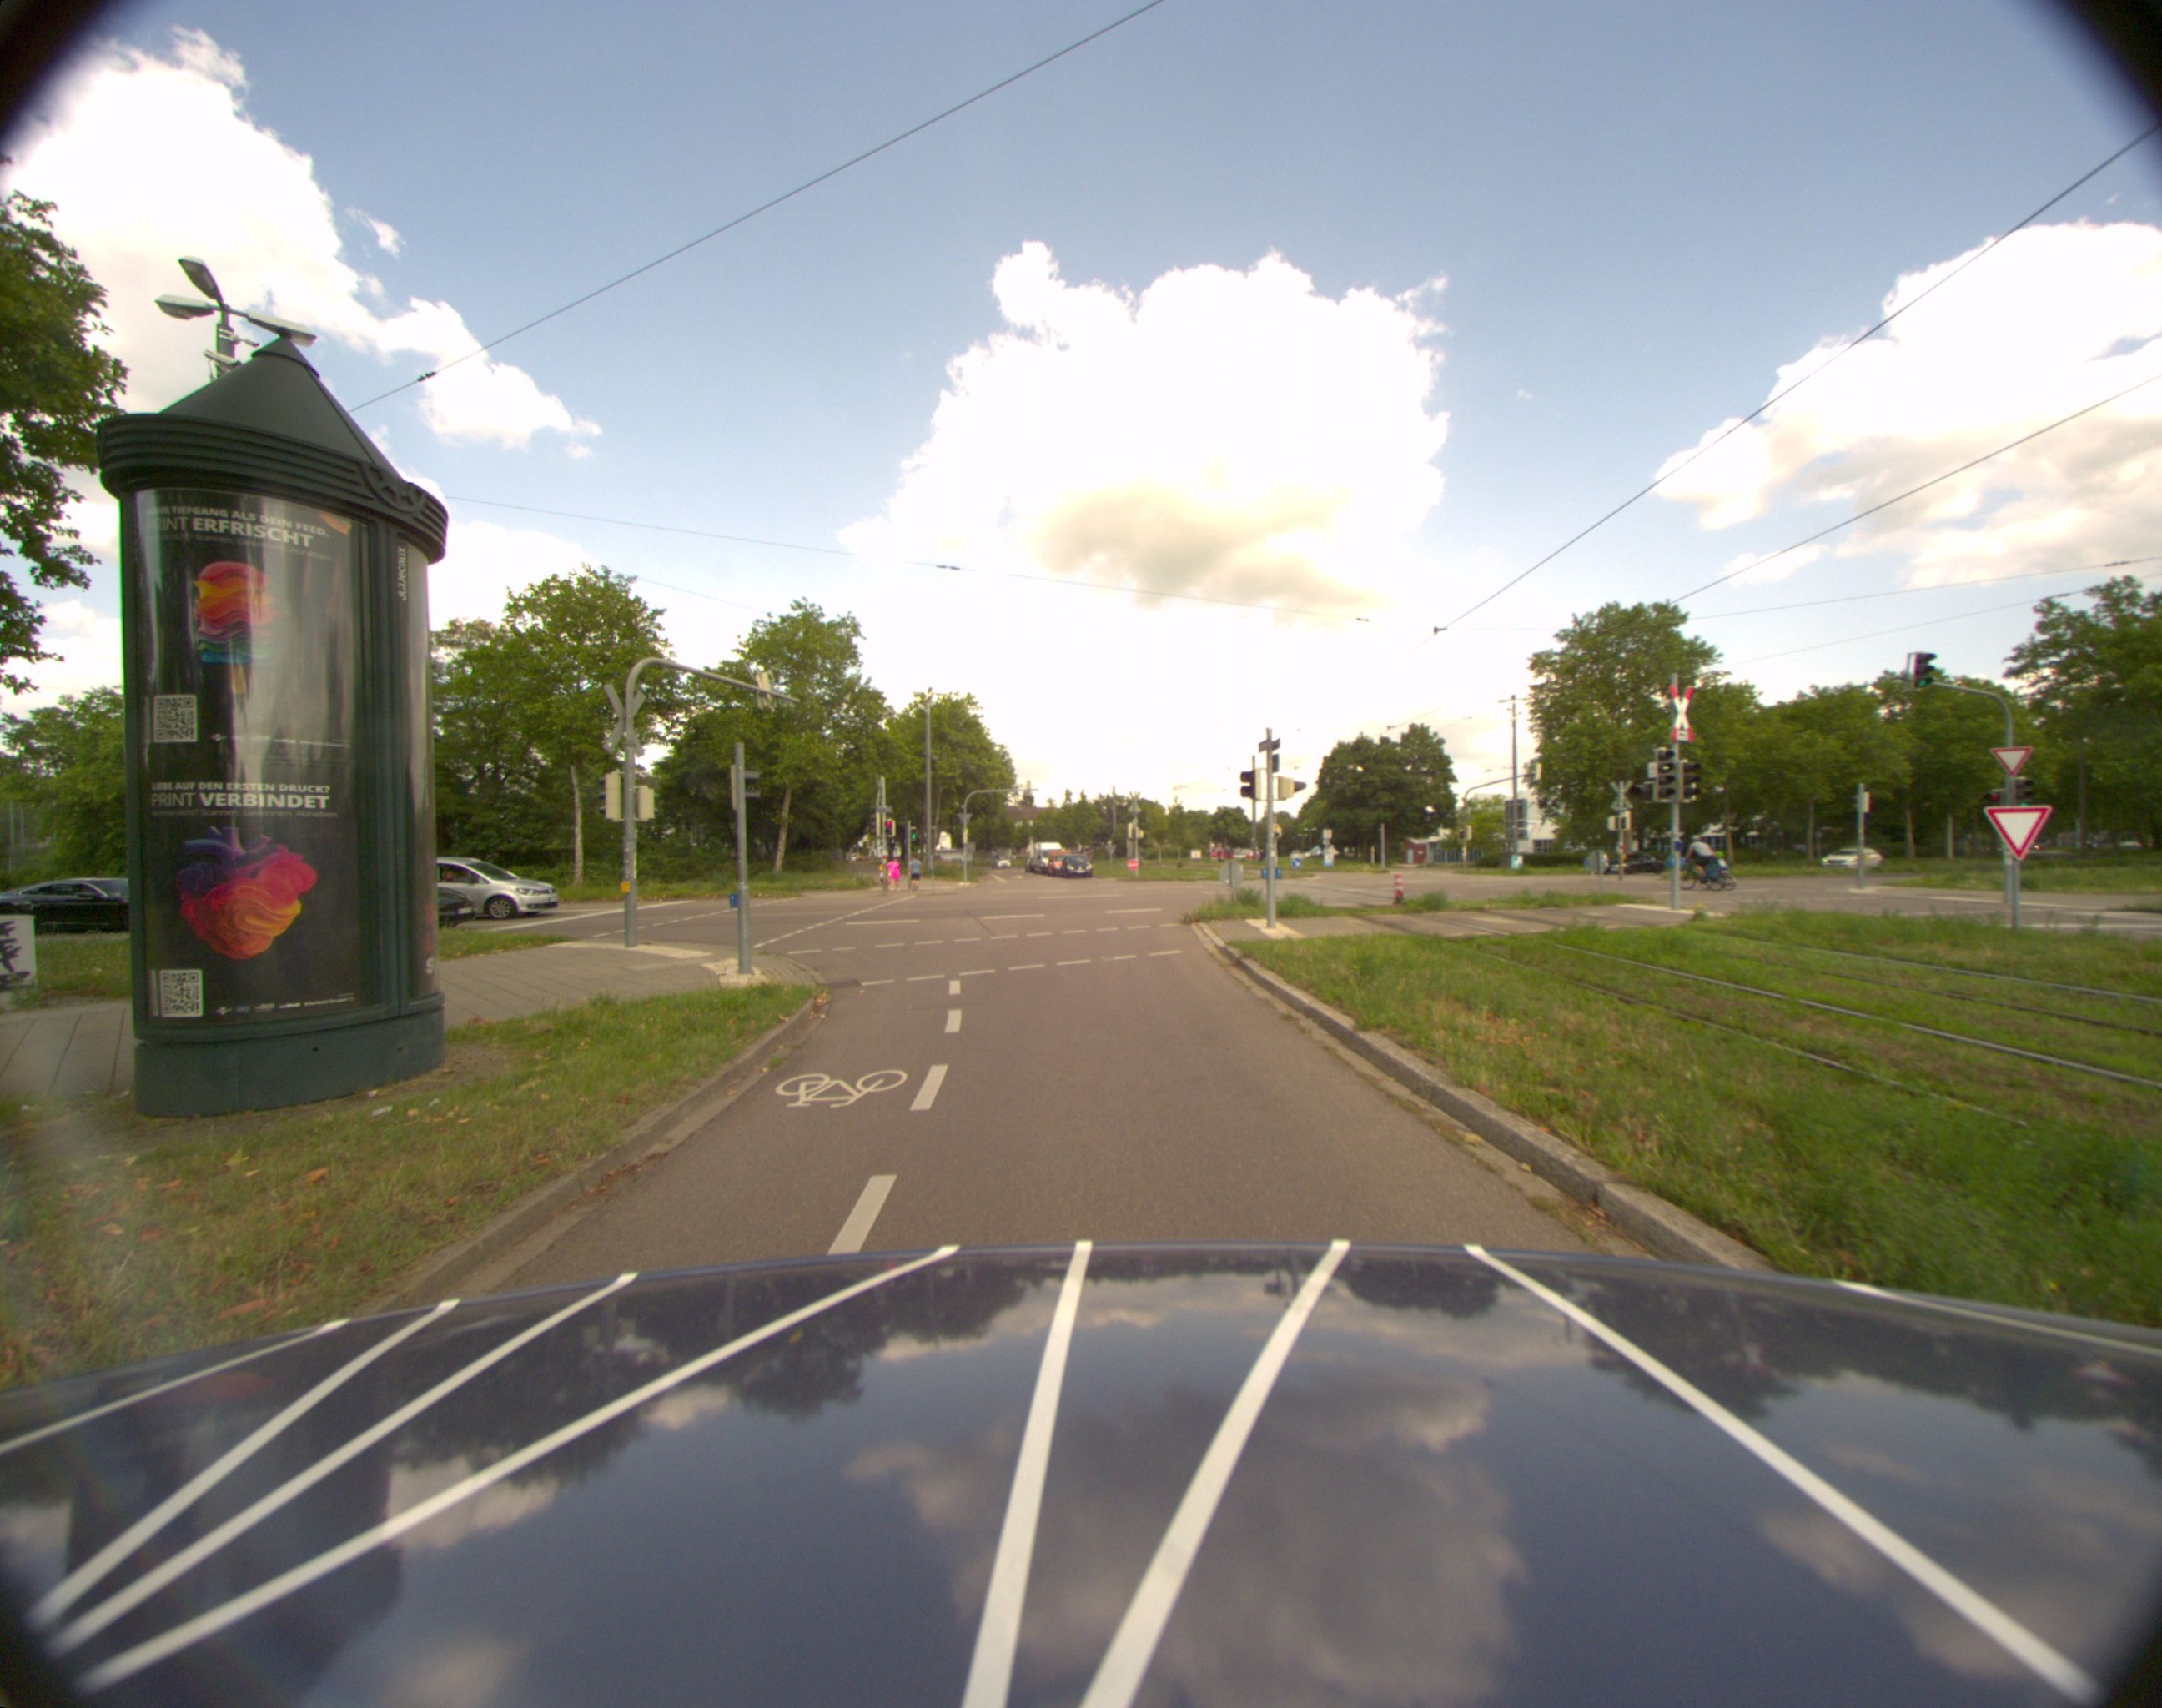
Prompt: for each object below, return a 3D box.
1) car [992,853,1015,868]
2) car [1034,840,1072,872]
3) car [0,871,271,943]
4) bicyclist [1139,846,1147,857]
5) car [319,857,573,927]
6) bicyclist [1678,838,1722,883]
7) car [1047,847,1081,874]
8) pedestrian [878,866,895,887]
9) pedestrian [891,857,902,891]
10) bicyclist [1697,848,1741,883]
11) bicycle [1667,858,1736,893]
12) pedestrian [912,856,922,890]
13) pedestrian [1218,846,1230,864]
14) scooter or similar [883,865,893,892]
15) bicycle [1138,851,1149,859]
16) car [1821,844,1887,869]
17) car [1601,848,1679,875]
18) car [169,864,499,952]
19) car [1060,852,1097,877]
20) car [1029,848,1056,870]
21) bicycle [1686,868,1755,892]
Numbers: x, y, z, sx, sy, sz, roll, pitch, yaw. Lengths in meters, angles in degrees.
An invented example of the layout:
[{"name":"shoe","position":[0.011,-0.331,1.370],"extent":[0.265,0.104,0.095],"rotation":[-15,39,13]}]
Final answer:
[{"name":"car","position":[-9.010,0.773,87.685],"extent":[1.869,1.635,4.228],"rotation":[-2,1,-16]},{"name":"car","position":[-2.393,0.152,62.914],"extent":[2.241,2.492,5.720],"rotation":[-2,1,-11]},{"name":"car","position":[-23.200,1.228,18.284],"extent":[4.751,1.461,1.997],"rotation":[-1,1,-12]},{"name":"bicyclist","position":[8.461,-0.313,103.558],"extent":[0.805,1.461,0.831],"rotation":[-1,-1,-17]},{"name":"car","position":[-16.483,0.934,20.009],"extent":[4.688,1.601,1.997],"rotation":[-1,1,-12]},{"name":"bicyclist","position":[20.381,0.191,25.033],"extent":[0.625,1.449,0.928],"rotation":[-1,1,-9]},{"name":"car","position":[-1.309,0.469,56.468],"extent":[1.796,1.924,4.364],"rotation":[-2,1,-10]},{"name":"pedestrian","position":[-9.696,1.120,37.898],"extent":[0.723,1.028,0.901],"rotation":[-1,1,-11]},{"name":"pedestrian","position":[-8.215,0.867,33.885],"extent":[0.419,1.499,0.392],"rotation":[-1,1,-12]},{"name":"bicyclist","position":[21.132,0.372,25.185],"extent":[0.641,1.106,0.928],"rotation":[-1,1,-7]},{"name":"bicycle","position":[20.408,0.691,25.037],"extent":[0.648,1.073,1.803],"rotation":[-1,1,-9]},{"name":"pedestrian","position":[-7.328,0.824,33.902],"extent":[0.419,1.499,0.450],"rotation":[-1,1,-12]},{"name":"pedestrian","position":[15.057,0.136,80.200],"extent":[0.908,1.857,1.001],"rotation":[-1,1,-13]},{"name":"scooter or similar","position":[-8.492,1.058,33.386],"extent":[0.395,1.154,1.115],"rotation":[-1,1,-15]},{"name":"bicycle","position":[8.509,0.135,103.411],"extent":[0.805,1.053,2.067],"rotation":[-1,-1,-17]},{"name":"car","position":[51.256,0.152,50.386],"extent":[3.915,1.515,1.696],"rotation":[-1,1,-22]},{"name":"car","position":[33.768,0.427,45.919],"extent":[3.858,1.515,1.697],"rotation":[-1,1,-12]},{"name":"car","position":[-15.748,1.084,16.348],"extent":[4.688,1.601,1.998],"rotation":[-1,1,-11]},{"name":"car","position":[-0.203,0.648,50.476],"extent":[1.796,1.530,3.996],"rotation":[-2,1,-9]},{"name":"car","position":[-3.530,0.441,68.533],"extent":[1.796,1.924,4.364],"rotation":[-2,1,-11]},{"name":"bicycle","position":[21.136,0.850,25.158],"extent":[0.648,0.713,1.803],"rotation":[-1,1,-7]}]
